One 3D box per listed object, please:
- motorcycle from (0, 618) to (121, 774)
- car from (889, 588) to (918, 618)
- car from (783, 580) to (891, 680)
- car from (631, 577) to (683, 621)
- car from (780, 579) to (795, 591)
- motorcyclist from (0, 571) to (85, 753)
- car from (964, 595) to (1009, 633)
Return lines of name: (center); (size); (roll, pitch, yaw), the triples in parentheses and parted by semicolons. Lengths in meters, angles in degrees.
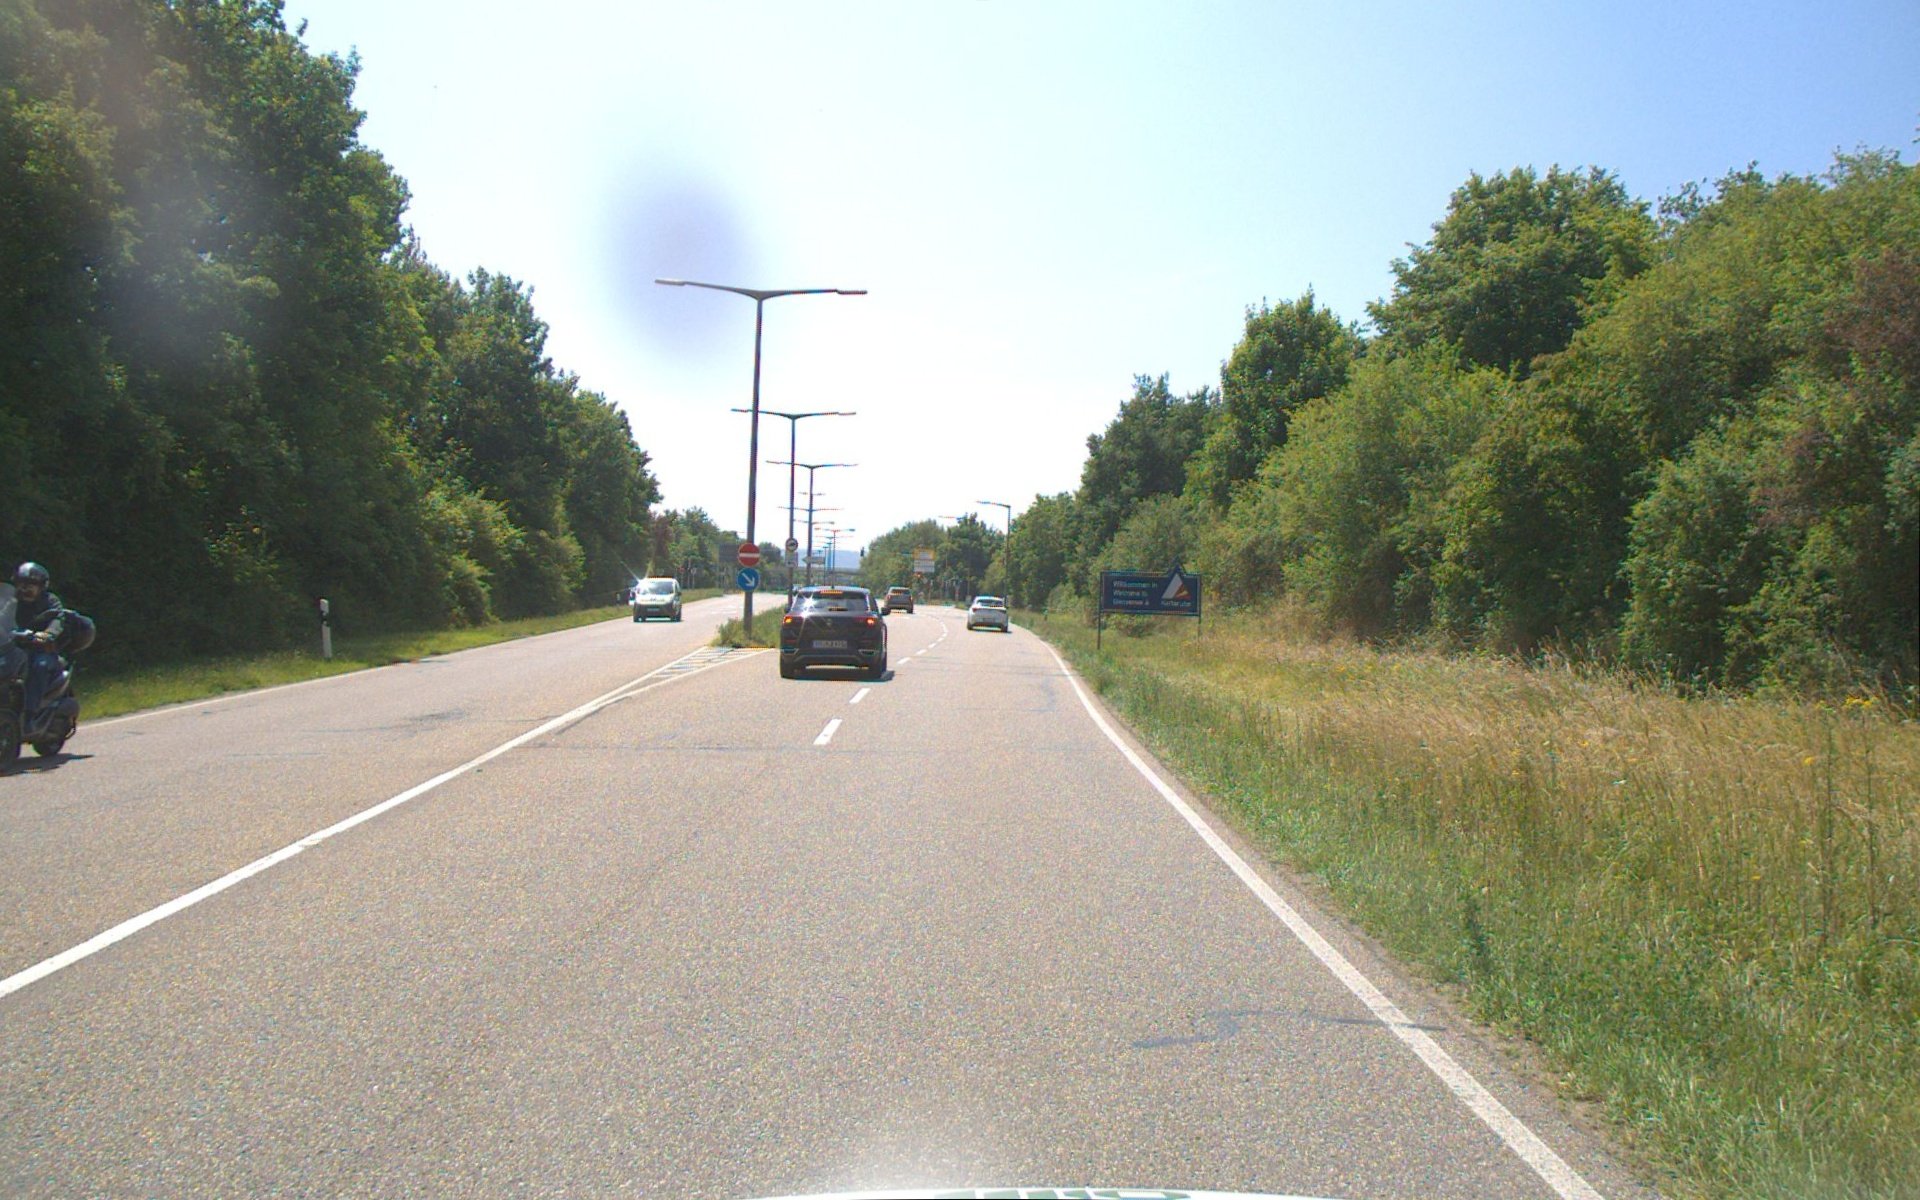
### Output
motorcycle: (-7.984, 0.776, 14.199); (0.658, 1.195, 2.228); (1, 0, -7)
car: (-3.915, 0.190, 113.305); (1.721, 1.962, 3.996); (3, 0, -5)
car: (-2.221, 0.488, 29.431); (1.721, 1.583, 3.996); (3, 0, -5)
car: (-12.248, -0.067, 66.977); (1.698, 1.717, 4.091); (-1, 1, -5)
car: (-24.204, -2.121, 231.789); (1.791, 1.545, 3.998); (3, 0, -3)
motorcyclist: (-7.957, 0.512, 14.055); (0.657, 1.501, 0.812); (1, 0, -8)
car: (1.113, 0.578, 72.199); (1.761, 1.611, 3.998); (0, 0, -2)
